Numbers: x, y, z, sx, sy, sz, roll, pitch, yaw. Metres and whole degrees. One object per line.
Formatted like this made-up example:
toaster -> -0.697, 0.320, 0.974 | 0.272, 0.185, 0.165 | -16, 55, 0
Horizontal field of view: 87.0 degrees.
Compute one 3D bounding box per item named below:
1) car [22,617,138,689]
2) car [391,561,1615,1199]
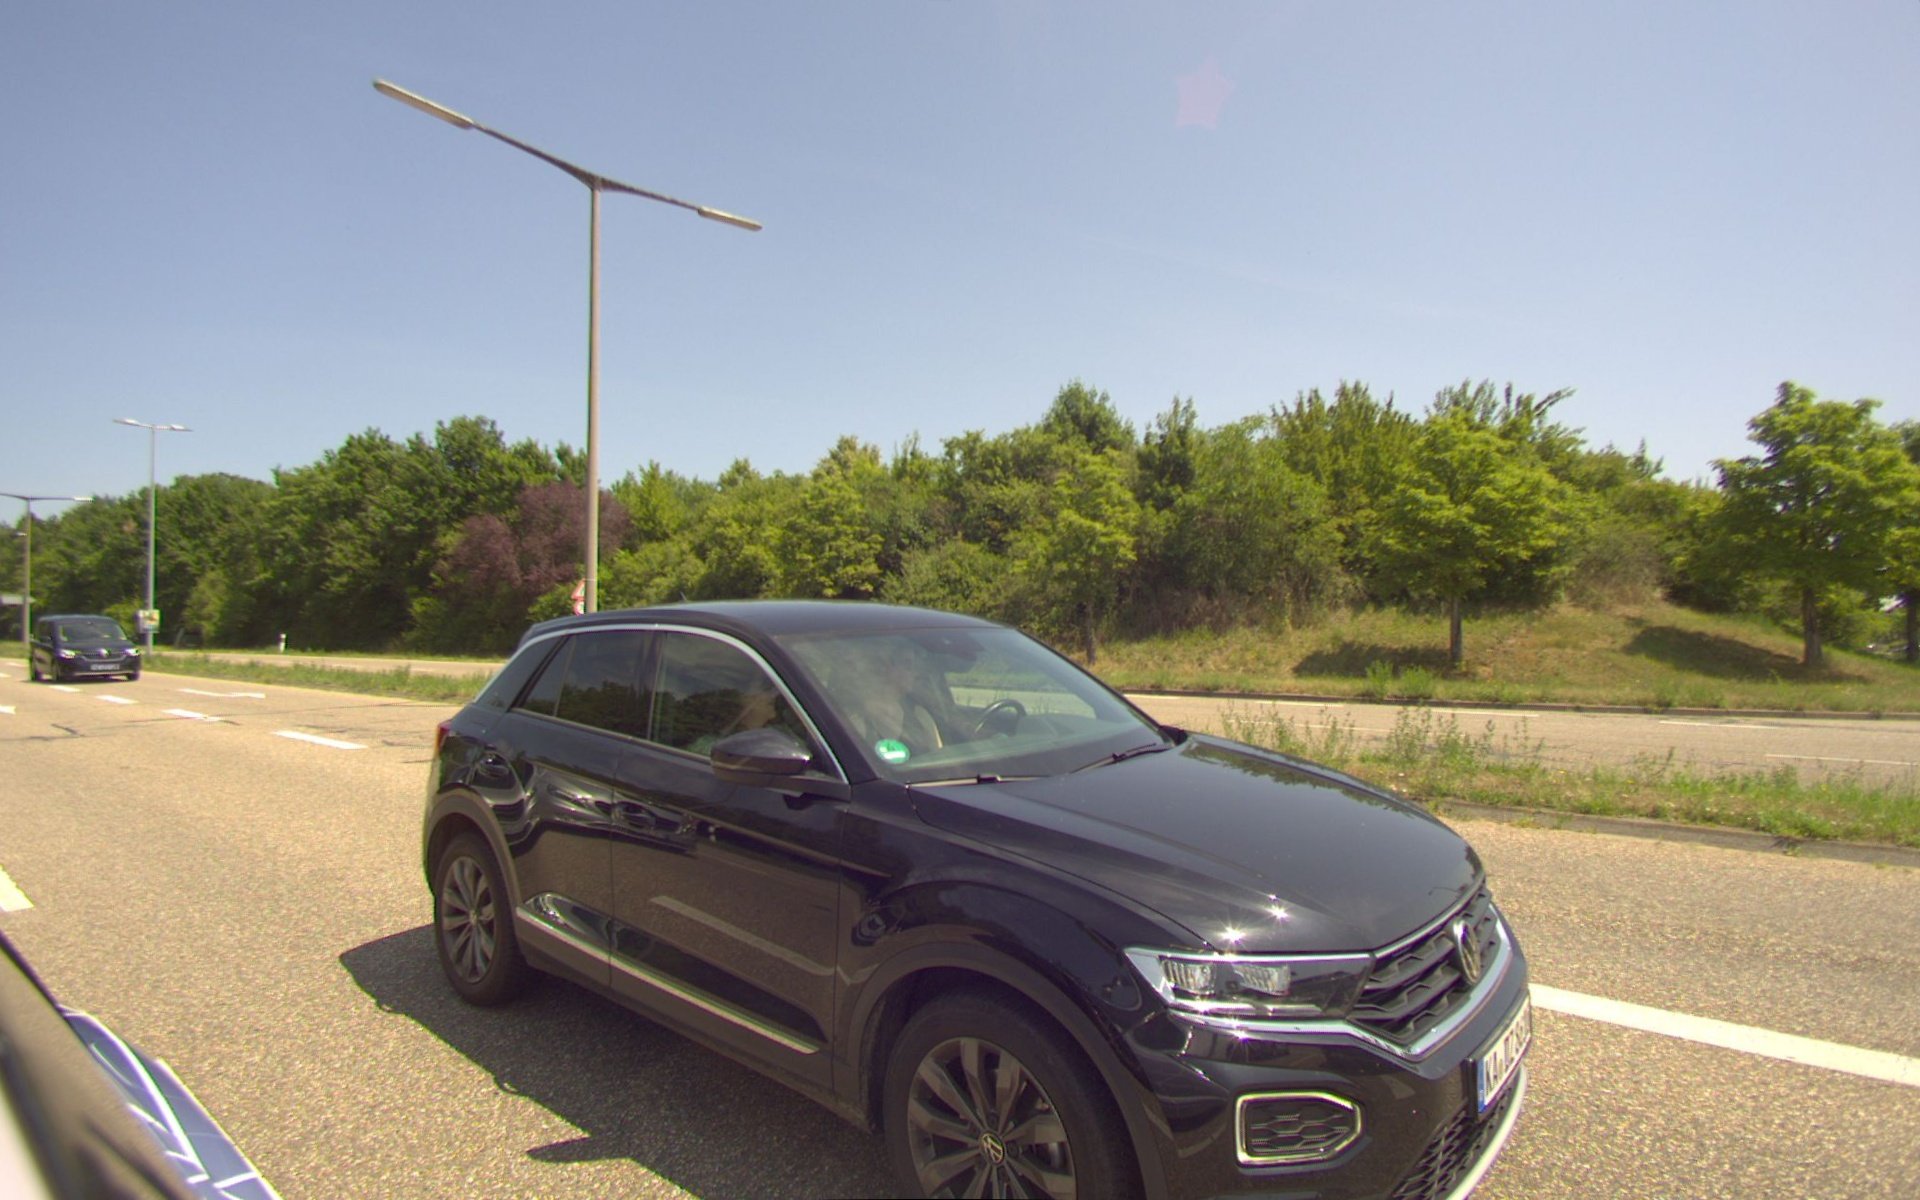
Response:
car -> -24.289, 1.414, 27.883 | 4.317, 1.840, 1.714 | -2, -2, 39
car -> -0.254, 0.718, 3.445 | 3.969, 1.523, 1.716 | -1, 0, 41
